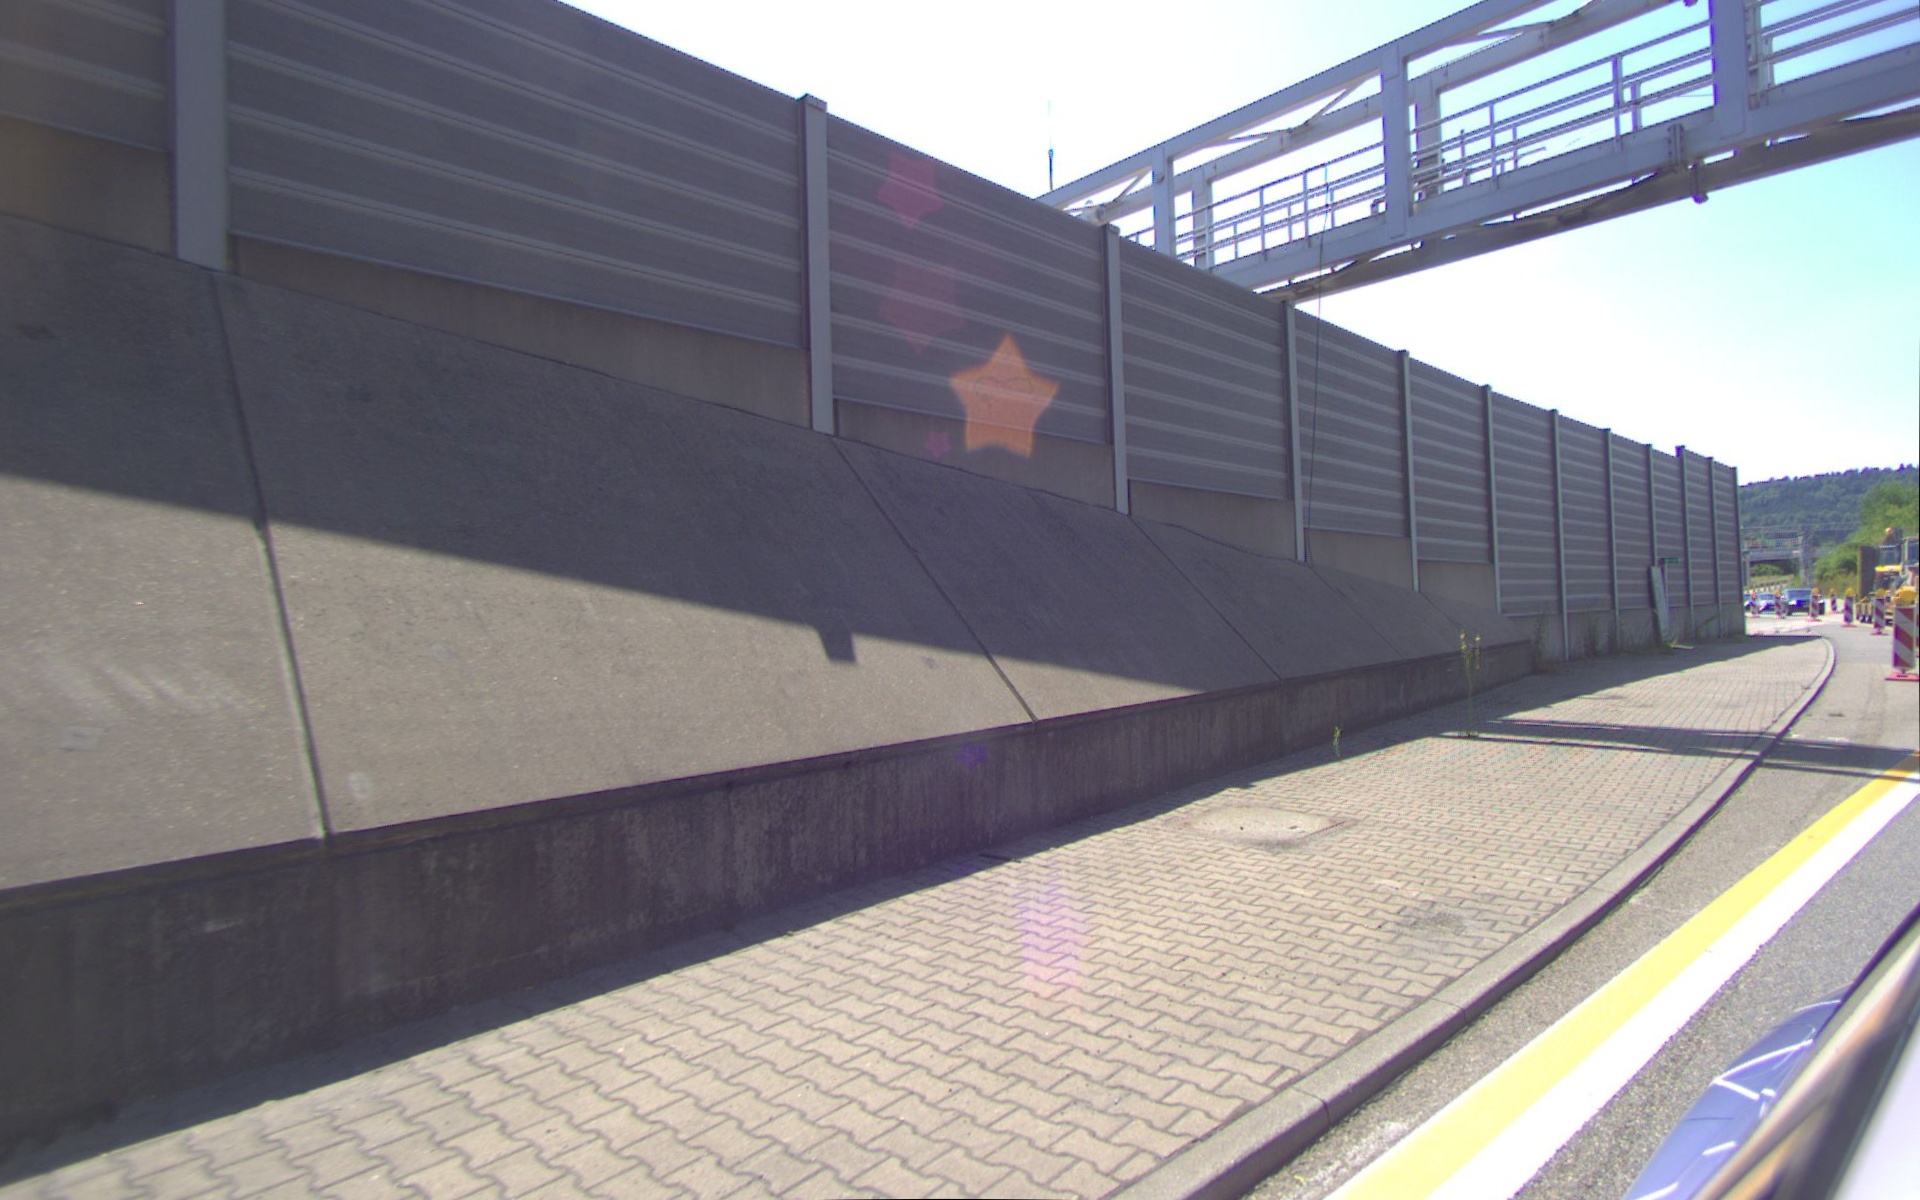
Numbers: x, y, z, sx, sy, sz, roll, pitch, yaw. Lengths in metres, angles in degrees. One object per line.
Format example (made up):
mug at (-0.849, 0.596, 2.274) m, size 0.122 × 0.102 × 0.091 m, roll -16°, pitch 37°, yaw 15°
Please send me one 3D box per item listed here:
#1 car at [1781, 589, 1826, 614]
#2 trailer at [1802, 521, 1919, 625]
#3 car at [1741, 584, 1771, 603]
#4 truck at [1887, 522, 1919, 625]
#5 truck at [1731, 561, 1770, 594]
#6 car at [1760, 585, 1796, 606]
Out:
car at (52.304, 0.080, 62.821) m, size 1.464 × 1.466 × 4.313 m, roll 0°, pitch 1°, yaw 31°
trailer at (39.884, -1.013, 42.695) m, size 3.209 × 3.715 × 17.241 m, roll -5°, pitch -3°, yaw 29°
car at (63.018, -0.516, 80.169) m, size 1.465 × 1.466 × 4.309 m, roll 0°, pitch 1°, yaw 33°
truck at (35.923, -1.048, 35.494) m, size 3.203 × 3.708 × 7.009 m, roll -5°, pitch -3°, yaw 29°
truck at (101.394, -2.788, 129.966) m, size 3.219 × 3.715 × 17.190 m, roll -5°, pitch -3°, yaw 36°
car at (58.453, -0.336, 72.370) m, size 1.464 × 1.466 × 4.311 m, roll 0°, pitch 1°, yaw 32°
